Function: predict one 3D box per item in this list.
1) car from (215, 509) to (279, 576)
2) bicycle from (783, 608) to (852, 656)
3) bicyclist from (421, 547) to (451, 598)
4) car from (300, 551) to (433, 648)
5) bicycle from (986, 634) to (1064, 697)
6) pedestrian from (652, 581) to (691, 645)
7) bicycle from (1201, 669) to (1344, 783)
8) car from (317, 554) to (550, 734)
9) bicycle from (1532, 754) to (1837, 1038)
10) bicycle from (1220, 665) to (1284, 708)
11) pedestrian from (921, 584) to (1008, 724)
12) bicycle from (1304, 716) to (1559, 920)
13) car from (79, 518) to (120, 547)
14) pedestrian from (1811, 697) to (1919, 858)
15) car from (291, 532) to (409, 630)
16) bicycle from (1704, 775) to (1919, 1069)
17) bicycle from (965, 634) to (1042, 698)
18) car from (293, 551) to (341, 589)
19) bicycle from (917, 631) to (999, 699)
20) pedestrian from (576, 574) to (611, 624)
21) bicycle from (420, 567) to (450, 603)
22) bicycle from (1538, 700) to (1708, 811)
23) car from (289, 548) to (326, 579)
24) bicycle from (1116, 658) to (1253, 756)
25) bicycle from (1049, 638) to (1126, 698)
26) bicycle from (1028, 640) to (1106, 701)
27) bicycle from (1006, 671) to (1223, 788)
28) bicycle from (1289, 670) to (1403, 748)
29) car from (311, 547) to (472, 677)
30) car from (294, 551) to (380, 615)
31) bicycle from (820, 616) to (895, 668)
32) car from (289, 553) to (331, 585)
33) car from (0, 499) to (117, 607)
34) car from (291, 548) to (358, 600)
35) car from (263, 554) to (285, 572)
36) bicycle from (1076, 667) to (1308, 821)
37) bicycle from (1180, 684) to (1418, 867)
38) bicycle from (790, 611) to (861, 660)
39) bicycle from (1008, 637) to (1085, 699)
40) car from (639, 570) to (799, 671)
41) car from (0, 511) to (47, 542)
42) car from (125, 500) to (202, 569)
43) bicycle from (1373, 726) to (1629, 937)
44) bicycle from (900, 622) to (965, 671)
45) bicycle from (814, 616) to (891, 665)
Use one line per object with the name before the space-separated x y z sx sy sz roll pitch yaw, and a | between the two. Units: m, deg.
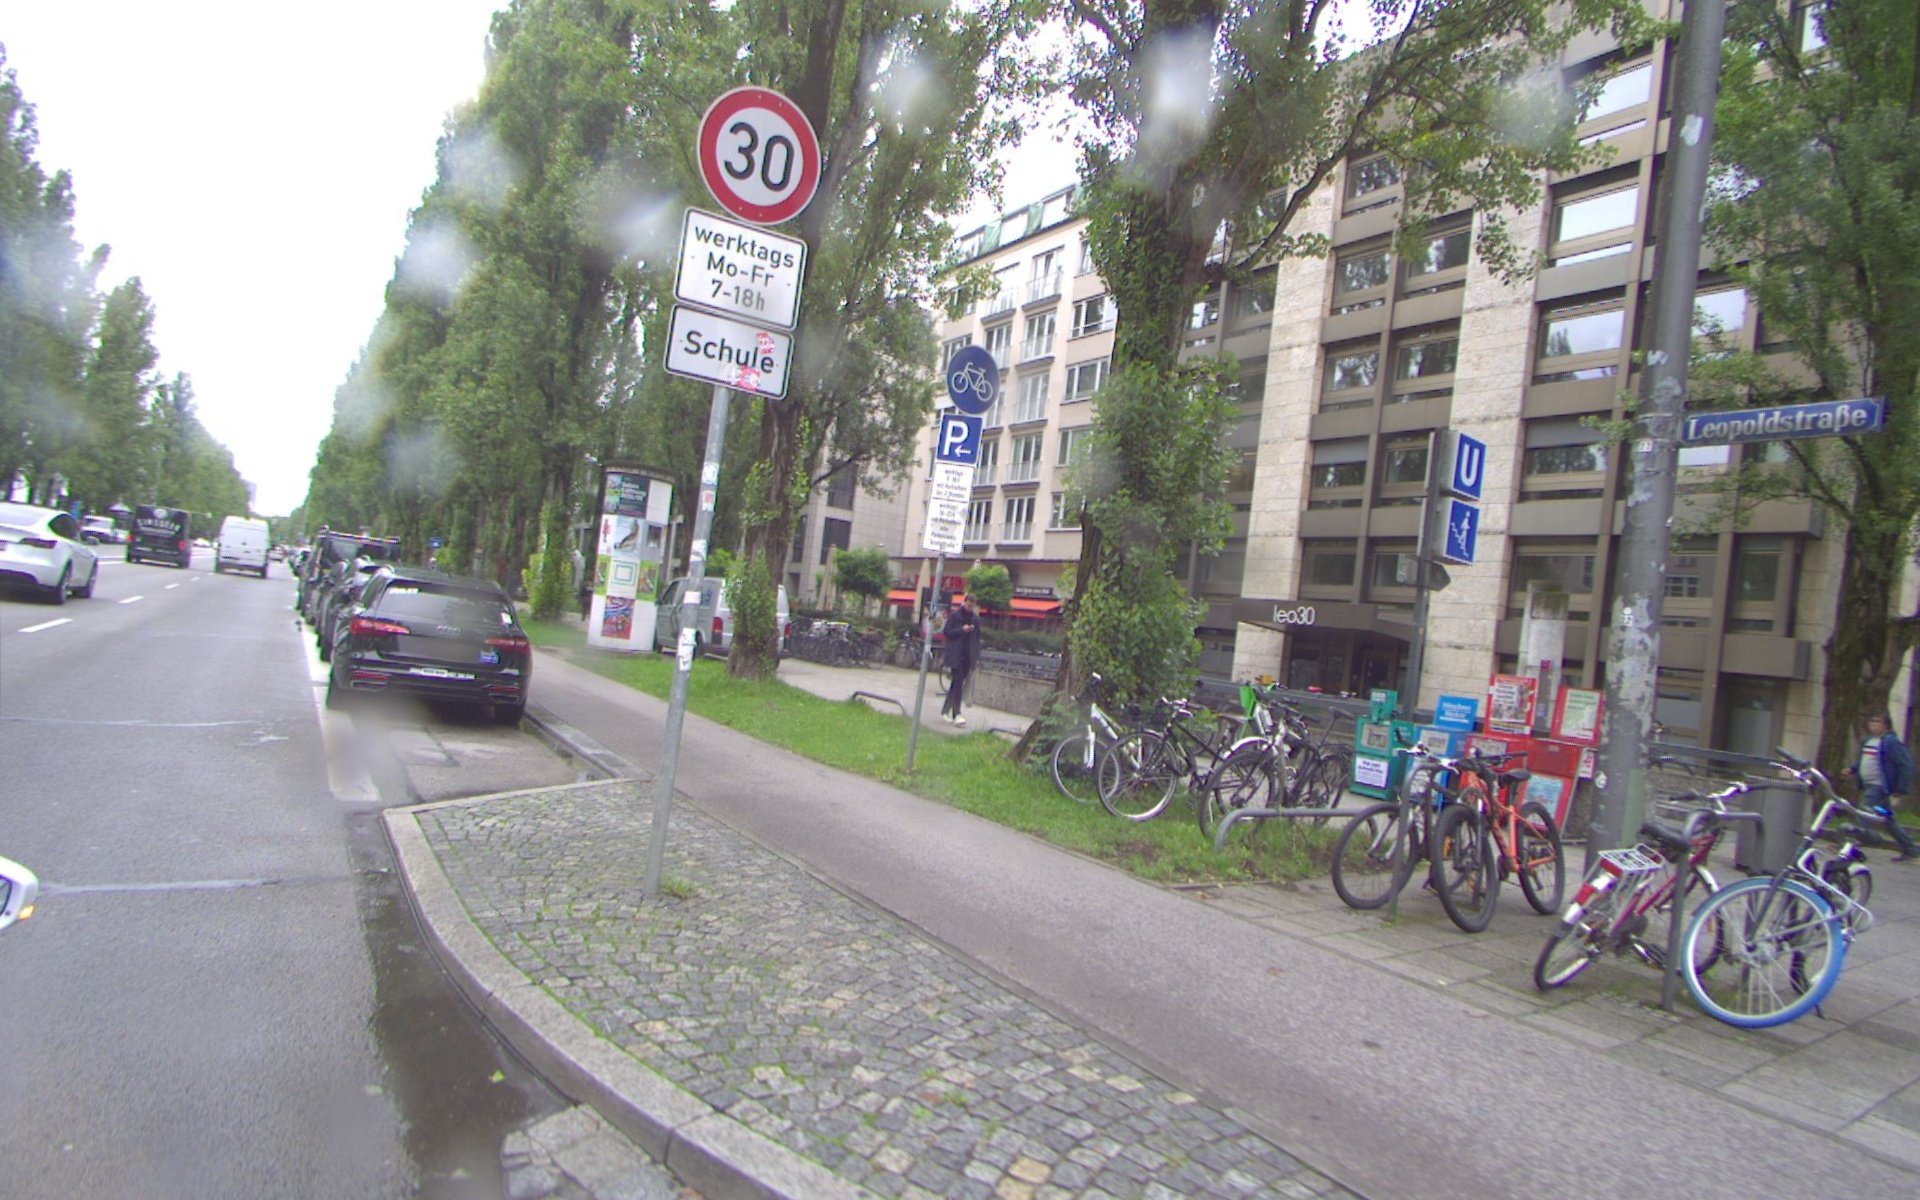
car | -33.709 -2.717 47.723 2.029 2.682 5.987 9 -2 -34
bicycle | -4.225 0.955 29.814 1.851 1.173 0.583 8 -2 -33
bicyclist | -17.857 -0.948 34.263 0.717 1.640 0.750 5 1 -32
car | -11.984 -0.070 20.170 1.735 1.544 4.194 9 -3 -36
bicycle | 1.402 1.418 22.078 0.582 1.173 1.853 7 -2 -33
pedestrian | -8.638 0.377 30.119 0.742 1.824 0.837 7 -1 -30
bicycle | 3.935 1.567 12.854 0.580 1.173 1.860 7 -2 -23
car | -5.890 0.380 11.118 1.739 1.443 4.414 9 -3 -31
bicycle | 3.463 1.333 4.740 1.859 1.062 0.472 9 -2 -34
bicycle | 9.504 2.828 32.706 2.226 1.169 0.642 8 -2 -36
pedestrian | 0.059 0.786 14.890 0.709 1.951 0.897 6 0 -34
bicycle | 2.978 1.320 6.272 1.858 1.063 0.472 7 -1 -34
car | -75.888 -5.980 88.790 1.982 2.144 4.954 8 -1 -34
pedestrian | 11.020 2.109 11.989 0.898 1.734 0.866 7 -1 -16
car | -15.164 -0.498 24.859 1.901 1.946 4.992 9 -3 -36
bicycle | 4.103 1.405 4.749 1.863 1.063 0.470 8 -1 -41
bicycle | 0.909 1.399 21.645 0.582 1.173 1.853 7 -2 -33
car | -33.900 -1.606 52.964 1.734 1.661 3.914 9 -3 -36
bicycle | -0.071 1.311 20.636 0.582 1.173 1.967 7 -2 -33
pedestrian | -13.912 -0.030 38.188 0.903 1.773 0.853 7 -1 -34
bicycle | -17.886 -0.504 34.248 0.711 1.162 1.885 4 -1 -32
bicycle | 9.621 2.234 14.671 0.715 1.291 1.853 7 -2 -33
car | -45.148 -2.531 69.557 1.734 1.807 3.914 9 -3 -36
bicycle | 3.245 1.541 14.701 0.584 1.173 1.847 7 -2 -43
bicycle | 2.914 1.539 23.104 0.582 1.173 1.853 7 -2 -33
bicycle | 2.398 1.572 22.749 0.582 1.173 1.853 7 -2 -33
bicycle | 1.304 1.085 8.310 1.813 0.827 0.468 7 -1 -30
bicycle | 7.039 1.980 18.441 0.582 1.173 1.853 7 -2 -33
car | -8.760 0.127 15.354 1.733 1.544 3.874 9 -3 -33
car | -18.497 -0.550 29.797 1.734 1.544 3.914 9 -3 -36
bicycle | -2.751 1.127 27.065 1.851 1.173 0.583 8 -1 -33
car | -38.461 -1.845 59.523 1.734 1.563 3.914 9 -3 -36
car | -16.595 -0.915 17.788 1.983 1.593 4.596 9 -3 -34
car | -23.957 -0.991 37.863 1.734 1.609 3.914 9 -3 -36
car | -76.501 -4.151 112.099 1.734 1.661 3.914 9 -3 -36
bicycle | 1.830 1.134 7.817 1.813 1.051 0.509 7 -1 -30
bicycle | 2.474 1.245 7.221 1.913 1.118 0.508 7 -1 -36
bicycle | -3.906 1.037 29.246 1.852 1.173 0.582 8 -1 -33
bicycle | 1.899 1.490 22.409 0.582 1.173 1.853 7 -2 -33
car | -5.736 0.390 23.409 1.797 1.918 5.158 7 -2 -33
car | -58.410 -4.545 62.640 1.751 1.598 3.430 7 -1 -34
car | -35.688 -2.885 45.207 2.065 2.585 5.877 9 -2 -35
bicycle | 3.305 1.349 6.075 1.858 1.063 0.472 7 -1 -34
bicycle | -0.803 1.326 28.737 1.843 1.173 0.585 6 -1 41
bicycle | -2.954 1.132 27.762 2.011 1.174 0.583 6 -1 -33
